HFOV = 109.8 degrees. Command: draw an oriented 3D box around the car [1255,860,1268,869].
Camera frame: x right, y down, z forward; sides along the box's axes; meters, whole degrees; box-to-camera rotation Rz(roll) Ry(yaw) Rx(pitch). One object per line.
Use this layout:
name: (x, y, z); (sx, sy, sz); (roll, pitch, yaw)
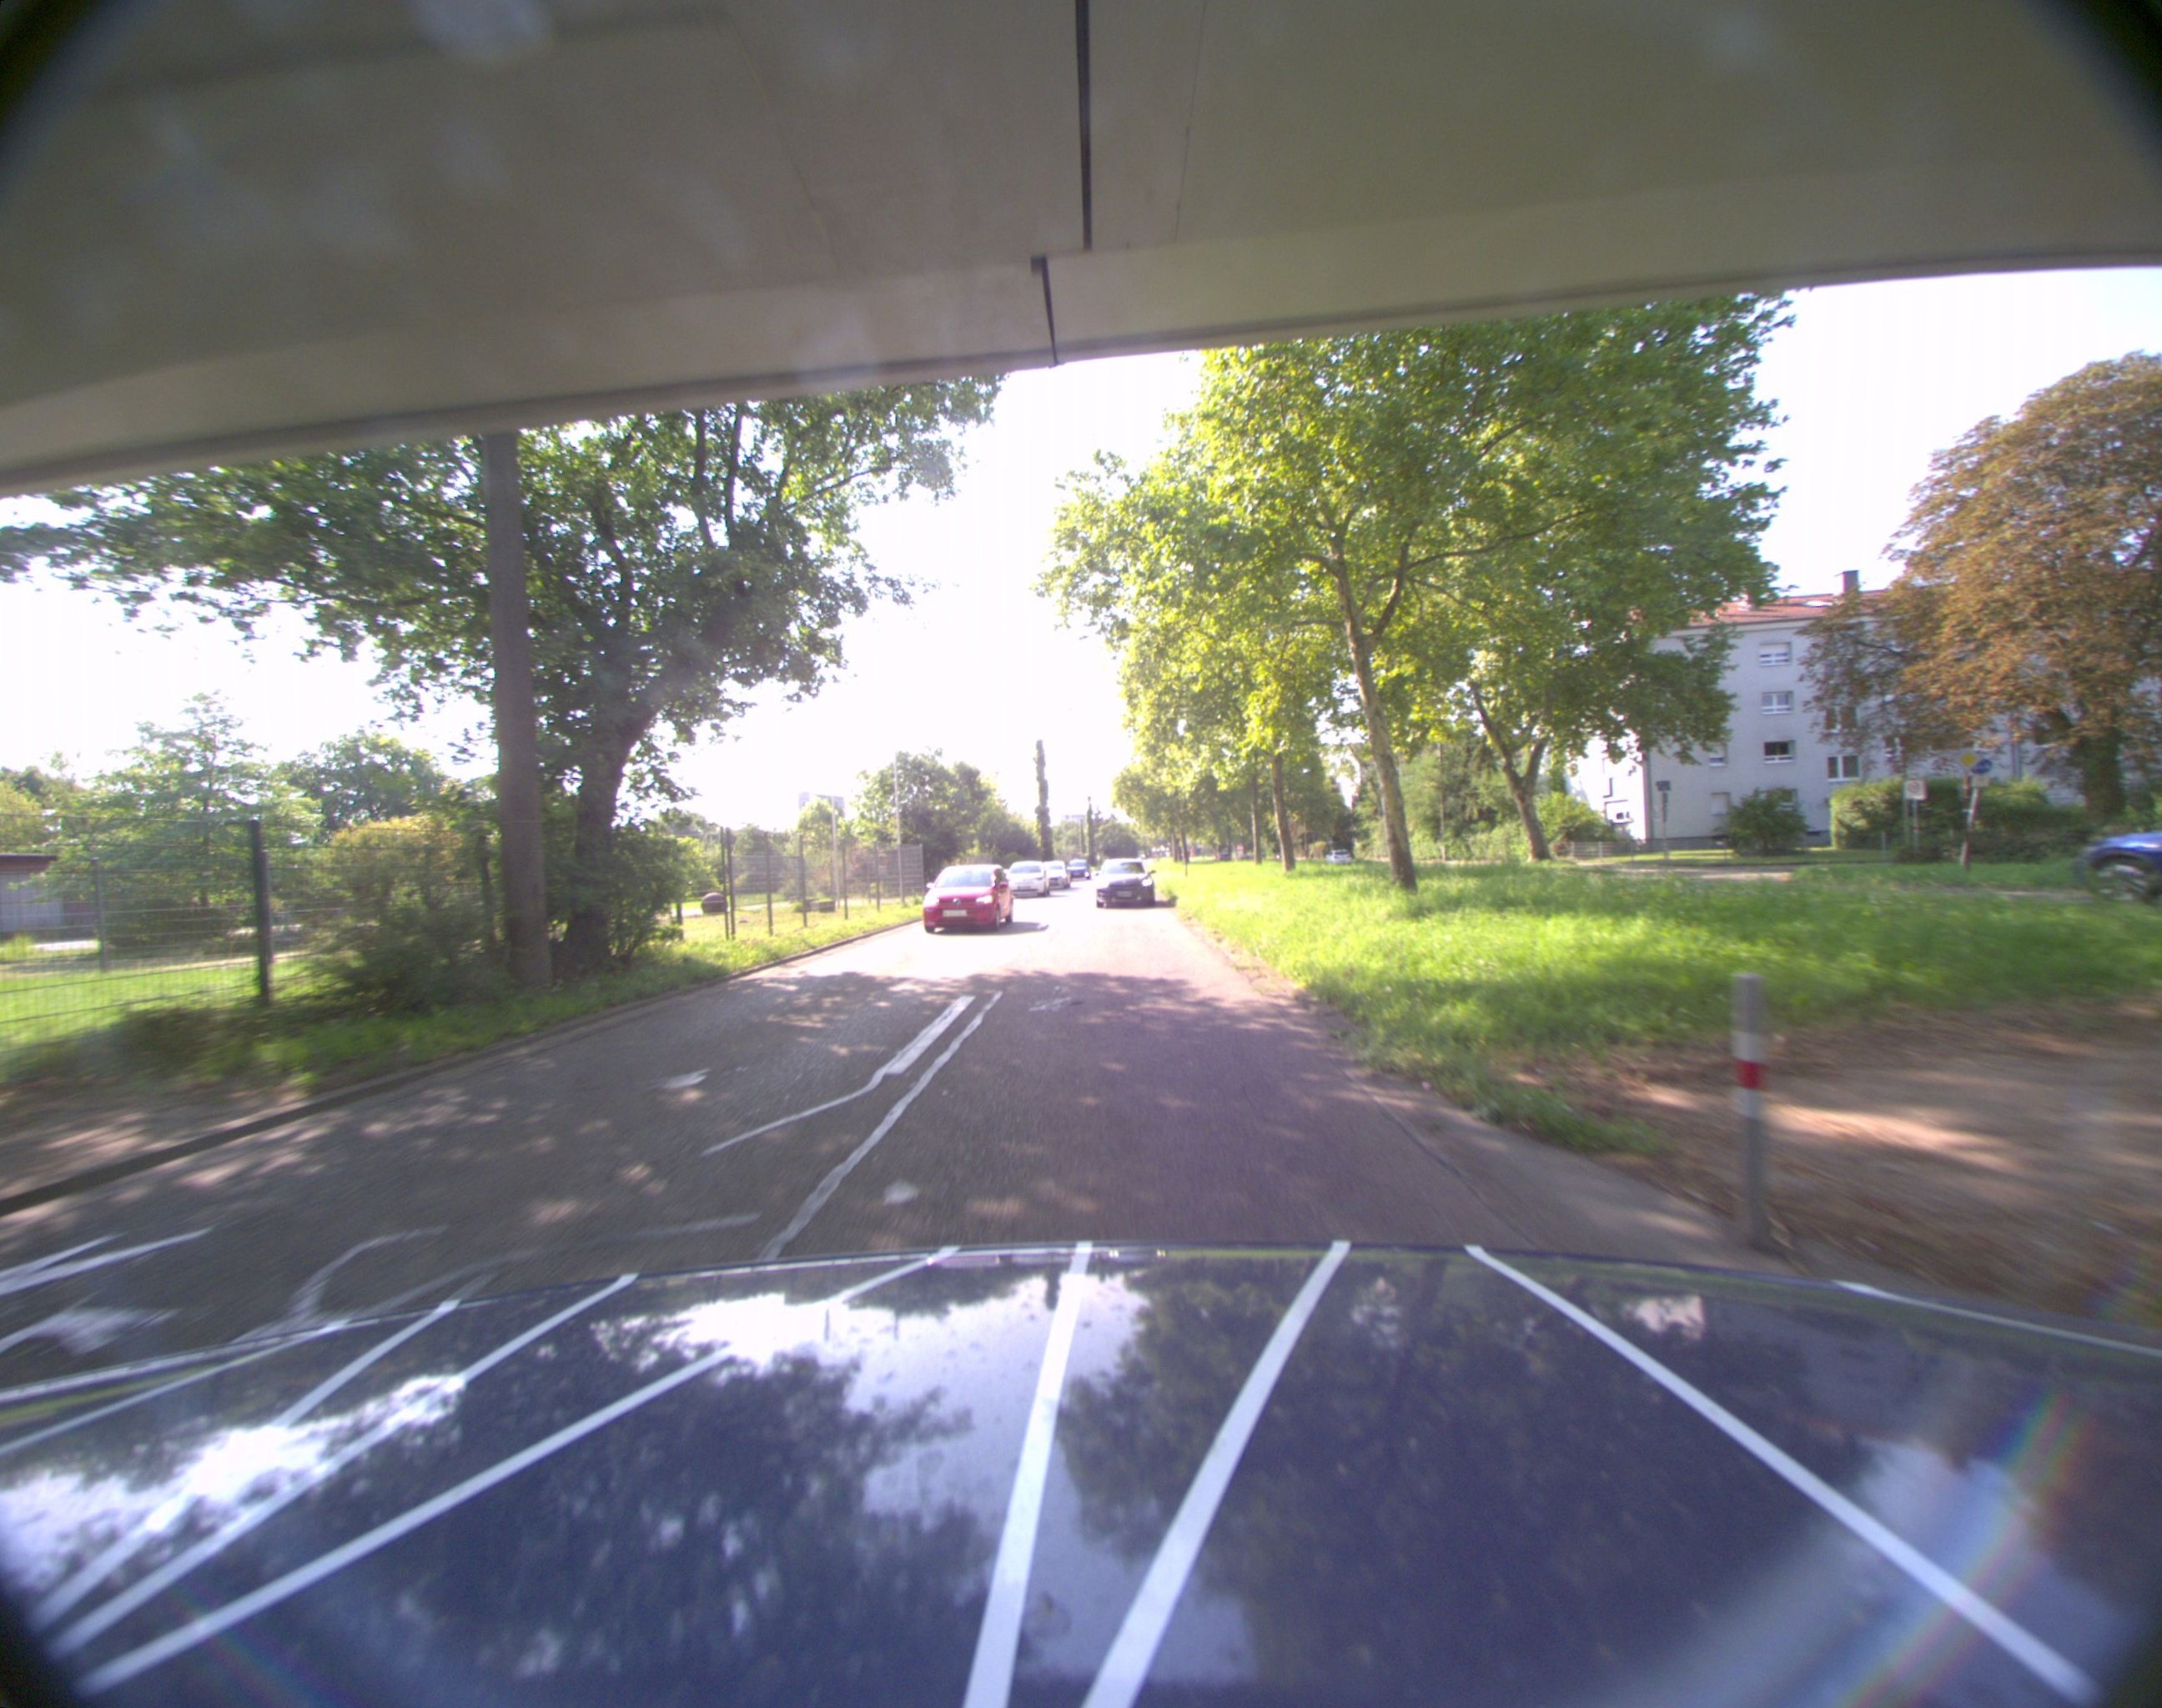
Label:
car: (28.207, 1.626, 118.739); (1.612, 1.284, 3.524); (-3, 0, 6)

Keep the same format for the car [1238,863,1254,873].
car: (24.592, 2.077, 113.623); (1.649, 1.356, 3.900); (-3, -1, 2)

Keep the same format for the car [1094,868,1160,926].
car: (1.477, 1.323, 24.336); (1.862, 1.572, 3.613); (-3, 0, 4)

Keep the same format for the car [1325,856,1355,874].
car: (23.693, 1.010, 69.633); (1.649, 1.470, 3.900); (-3, 0, 4)

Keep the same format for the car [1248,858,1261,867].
car: (29.719, 1.460, 130.148); (1.612, 1.284, 3.524); (-3, 0, 6)

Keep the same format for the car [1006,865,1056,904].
car: (-2.132, 1.300, 33.439); (1.649, 1.467, 3.900); (-3, 0, 3)

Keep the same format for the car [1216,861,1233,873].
car: (20.911, 1.942, 110.966); (1.779, 1.607, 4.858); (-3, 0, 4)

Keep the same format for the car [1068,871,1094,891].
car: (0.039, 2.068, 59.239); (1.649, 1.378, 3.900); (-3, 0, 4)

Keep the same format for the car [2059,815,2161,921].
car: (16.652, 0.158, 9.974); (1.792, 1.524, 4.455); (-3, 0, -1)

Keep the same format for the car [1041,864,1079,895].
car: (-1.096, 1.381, 42.166); (1.649, 1.467, 3.900); (-3, 0, 4)

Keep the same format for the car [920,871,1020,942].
car: (-2.502, 1.163, 17.917); (1.578, 1.390, 3.473); (-2, 0, 4)
